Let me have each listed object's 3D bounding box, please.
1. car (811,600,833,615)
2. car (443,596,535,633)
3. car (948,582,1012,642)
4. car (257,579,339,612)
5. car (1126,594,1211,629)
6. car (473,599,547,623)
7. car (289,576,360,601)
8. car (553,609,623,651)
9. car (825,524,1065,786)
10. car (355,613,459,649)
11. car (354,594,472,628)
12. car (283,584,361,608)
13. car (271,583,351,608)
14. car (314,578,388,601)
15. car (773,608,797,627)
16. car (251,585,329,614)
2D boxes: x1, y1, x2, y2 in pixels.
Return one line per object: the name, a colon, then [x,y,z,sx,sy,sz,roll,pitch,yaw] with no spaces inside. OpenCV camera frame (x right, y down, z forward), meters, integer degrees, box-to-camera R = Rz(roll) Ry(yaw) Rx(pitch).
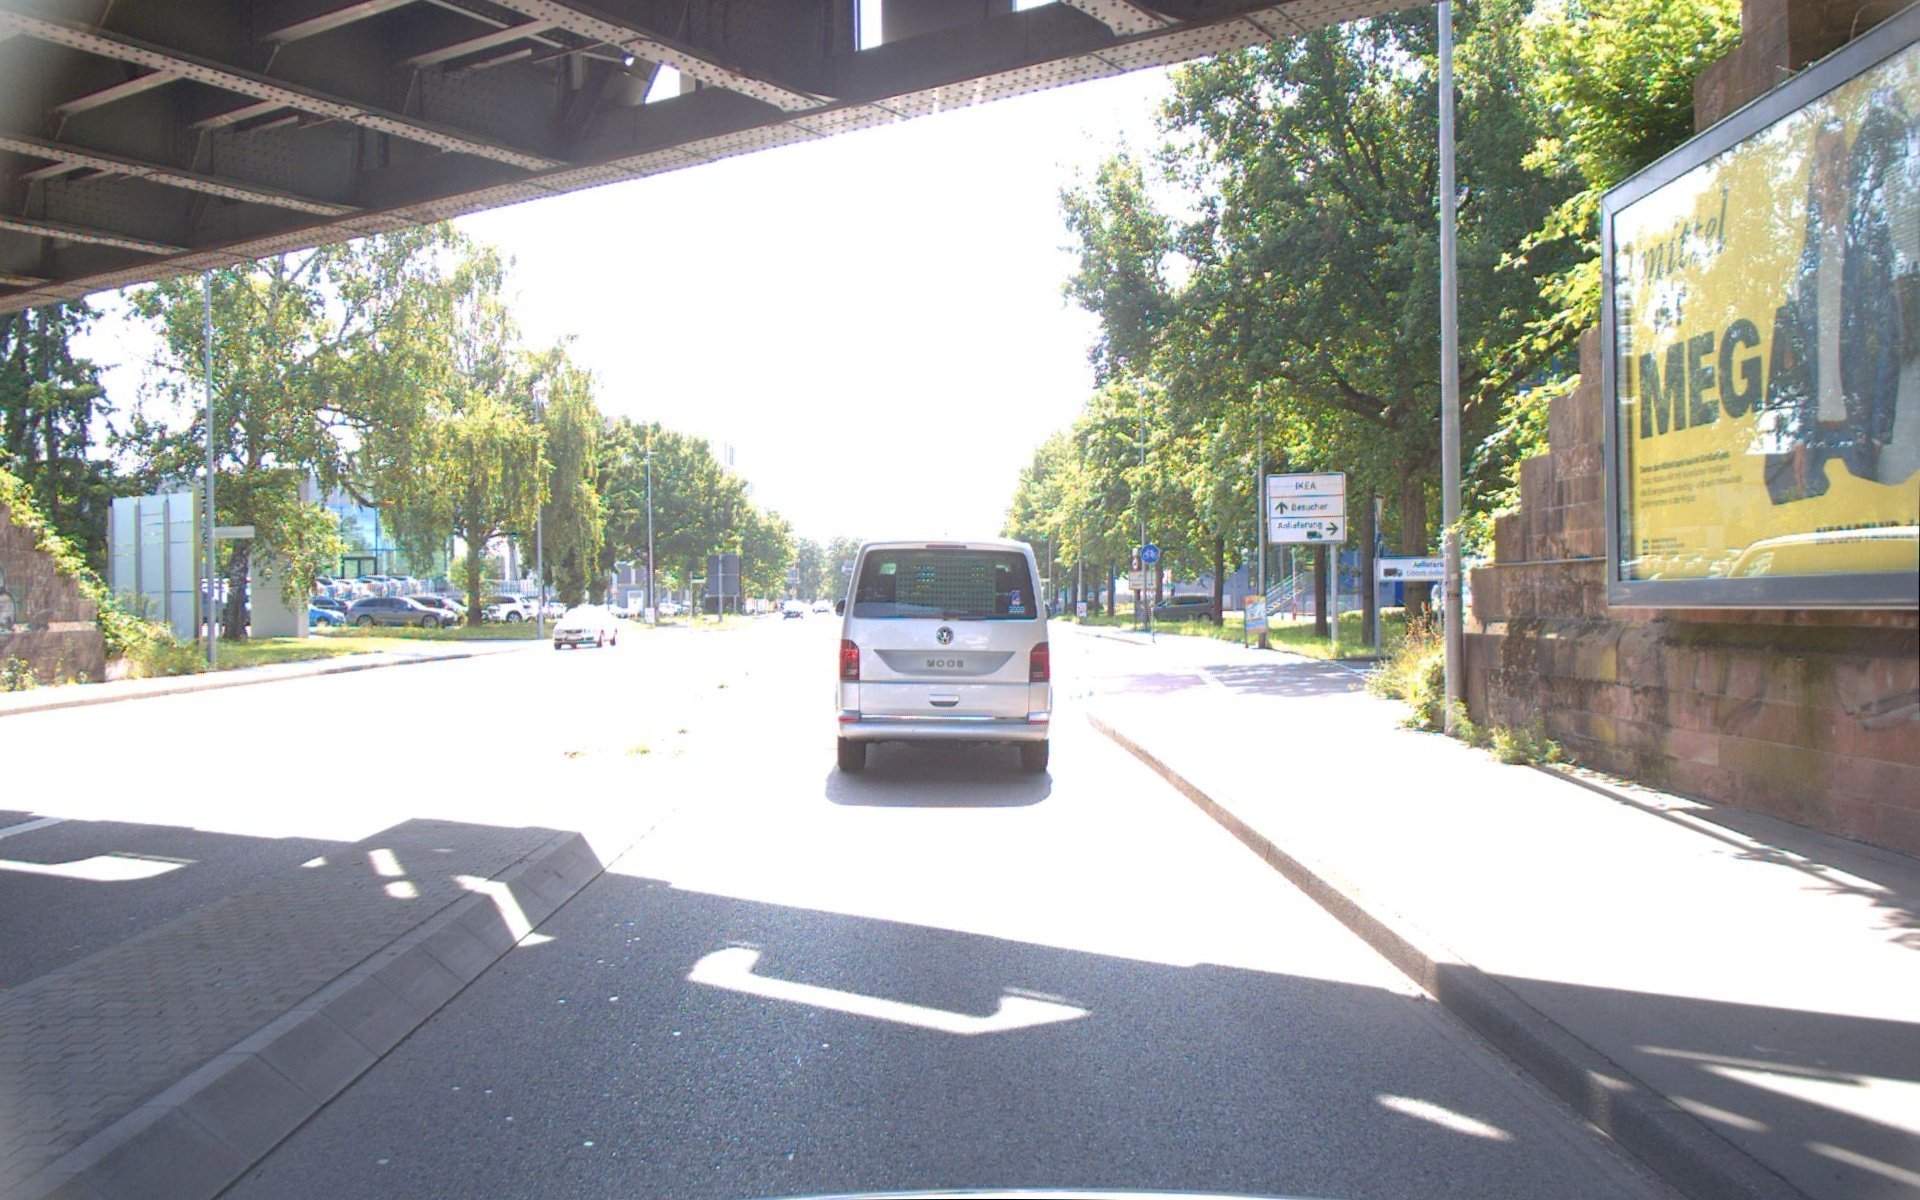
car: [-15.867,0.849,189.996,1.952,1.646,4.105,-2,0,2]
car: [-25.354,0.760,89.165,4.372,1.908,2.000,1,0,-1]
car: [0.647,0.406,58.180,1.928,2.002,5.122,1,0,-3]
car: [-42.063,-0.289,105.177,4.411,1.996,1.978,-1,0,-4]
car: [10.954,0.617,87.253,4.350,1.723,1.845,-2,-1,5]
car: [-25.415,0.618,93.442,3.716,1.308,1.743,1,0,-4]
car: [-42.230,-0.748,109.899,3.907,1.522,2.051,1,0,-2]
car: [-13.323,1.061,59.425,1.602,1.412,4.317,-1,0,-2]
car: [-0.177,0.439,14.958,1.847,2.025,3.998,1,0,-2]
car: [-25.607,1.436,76.730,4.129,1.573,1.999,1,0,-2]
car: [-24.263,0.469,73.481,4.592,1.414,1.999,1,0,-2]
car: [-42.386,-0.268,109.993,4.411,1.511,1.978,-1,0,-4]
car: [-42.264,-0.290,107.788,4.411,1.578,1.978,-1,0,-4]
car: [-42.507,-0.728,115.556,4.429,1.522,1.985,1,0,-2]
car: [-14.674,1.465,138.579,1.664,1.545,4.025,-2,0,-2]
car: [-41.761,-0.047,103.121,4.184,1.735,1.663,-1,0,-4]
